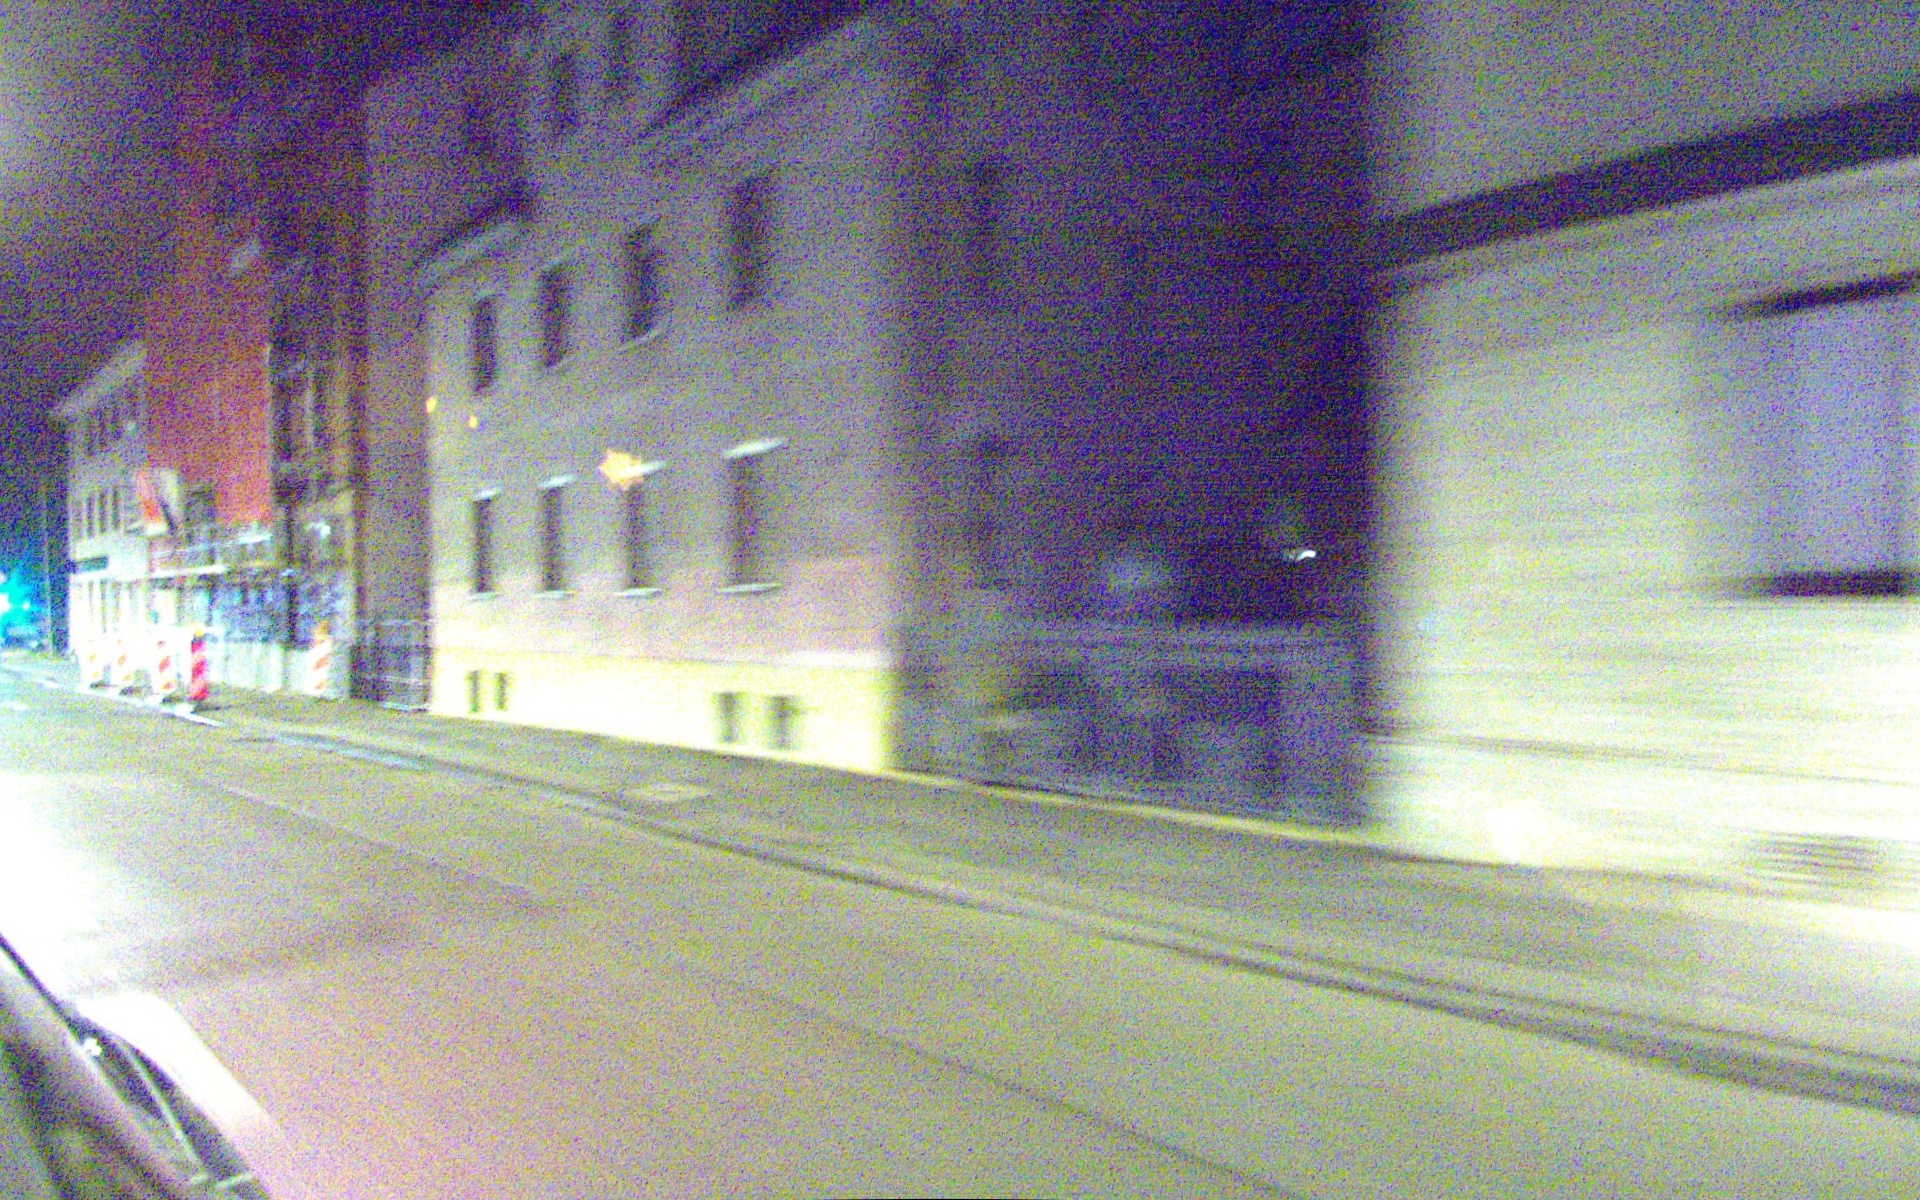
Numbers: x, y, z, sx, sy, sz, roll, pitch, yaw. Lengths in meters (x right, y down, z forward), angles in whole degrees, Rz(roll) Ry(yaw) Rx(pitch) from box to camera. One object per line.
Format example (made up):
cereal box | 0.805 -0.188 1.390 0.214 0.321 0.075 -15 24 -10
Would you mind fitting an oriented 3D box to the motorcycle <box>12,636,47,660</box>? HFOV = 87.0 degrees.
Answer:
motorcycle | -47.491 2.428 51.638 2.020 1.189 0.569 -1 -2 24
